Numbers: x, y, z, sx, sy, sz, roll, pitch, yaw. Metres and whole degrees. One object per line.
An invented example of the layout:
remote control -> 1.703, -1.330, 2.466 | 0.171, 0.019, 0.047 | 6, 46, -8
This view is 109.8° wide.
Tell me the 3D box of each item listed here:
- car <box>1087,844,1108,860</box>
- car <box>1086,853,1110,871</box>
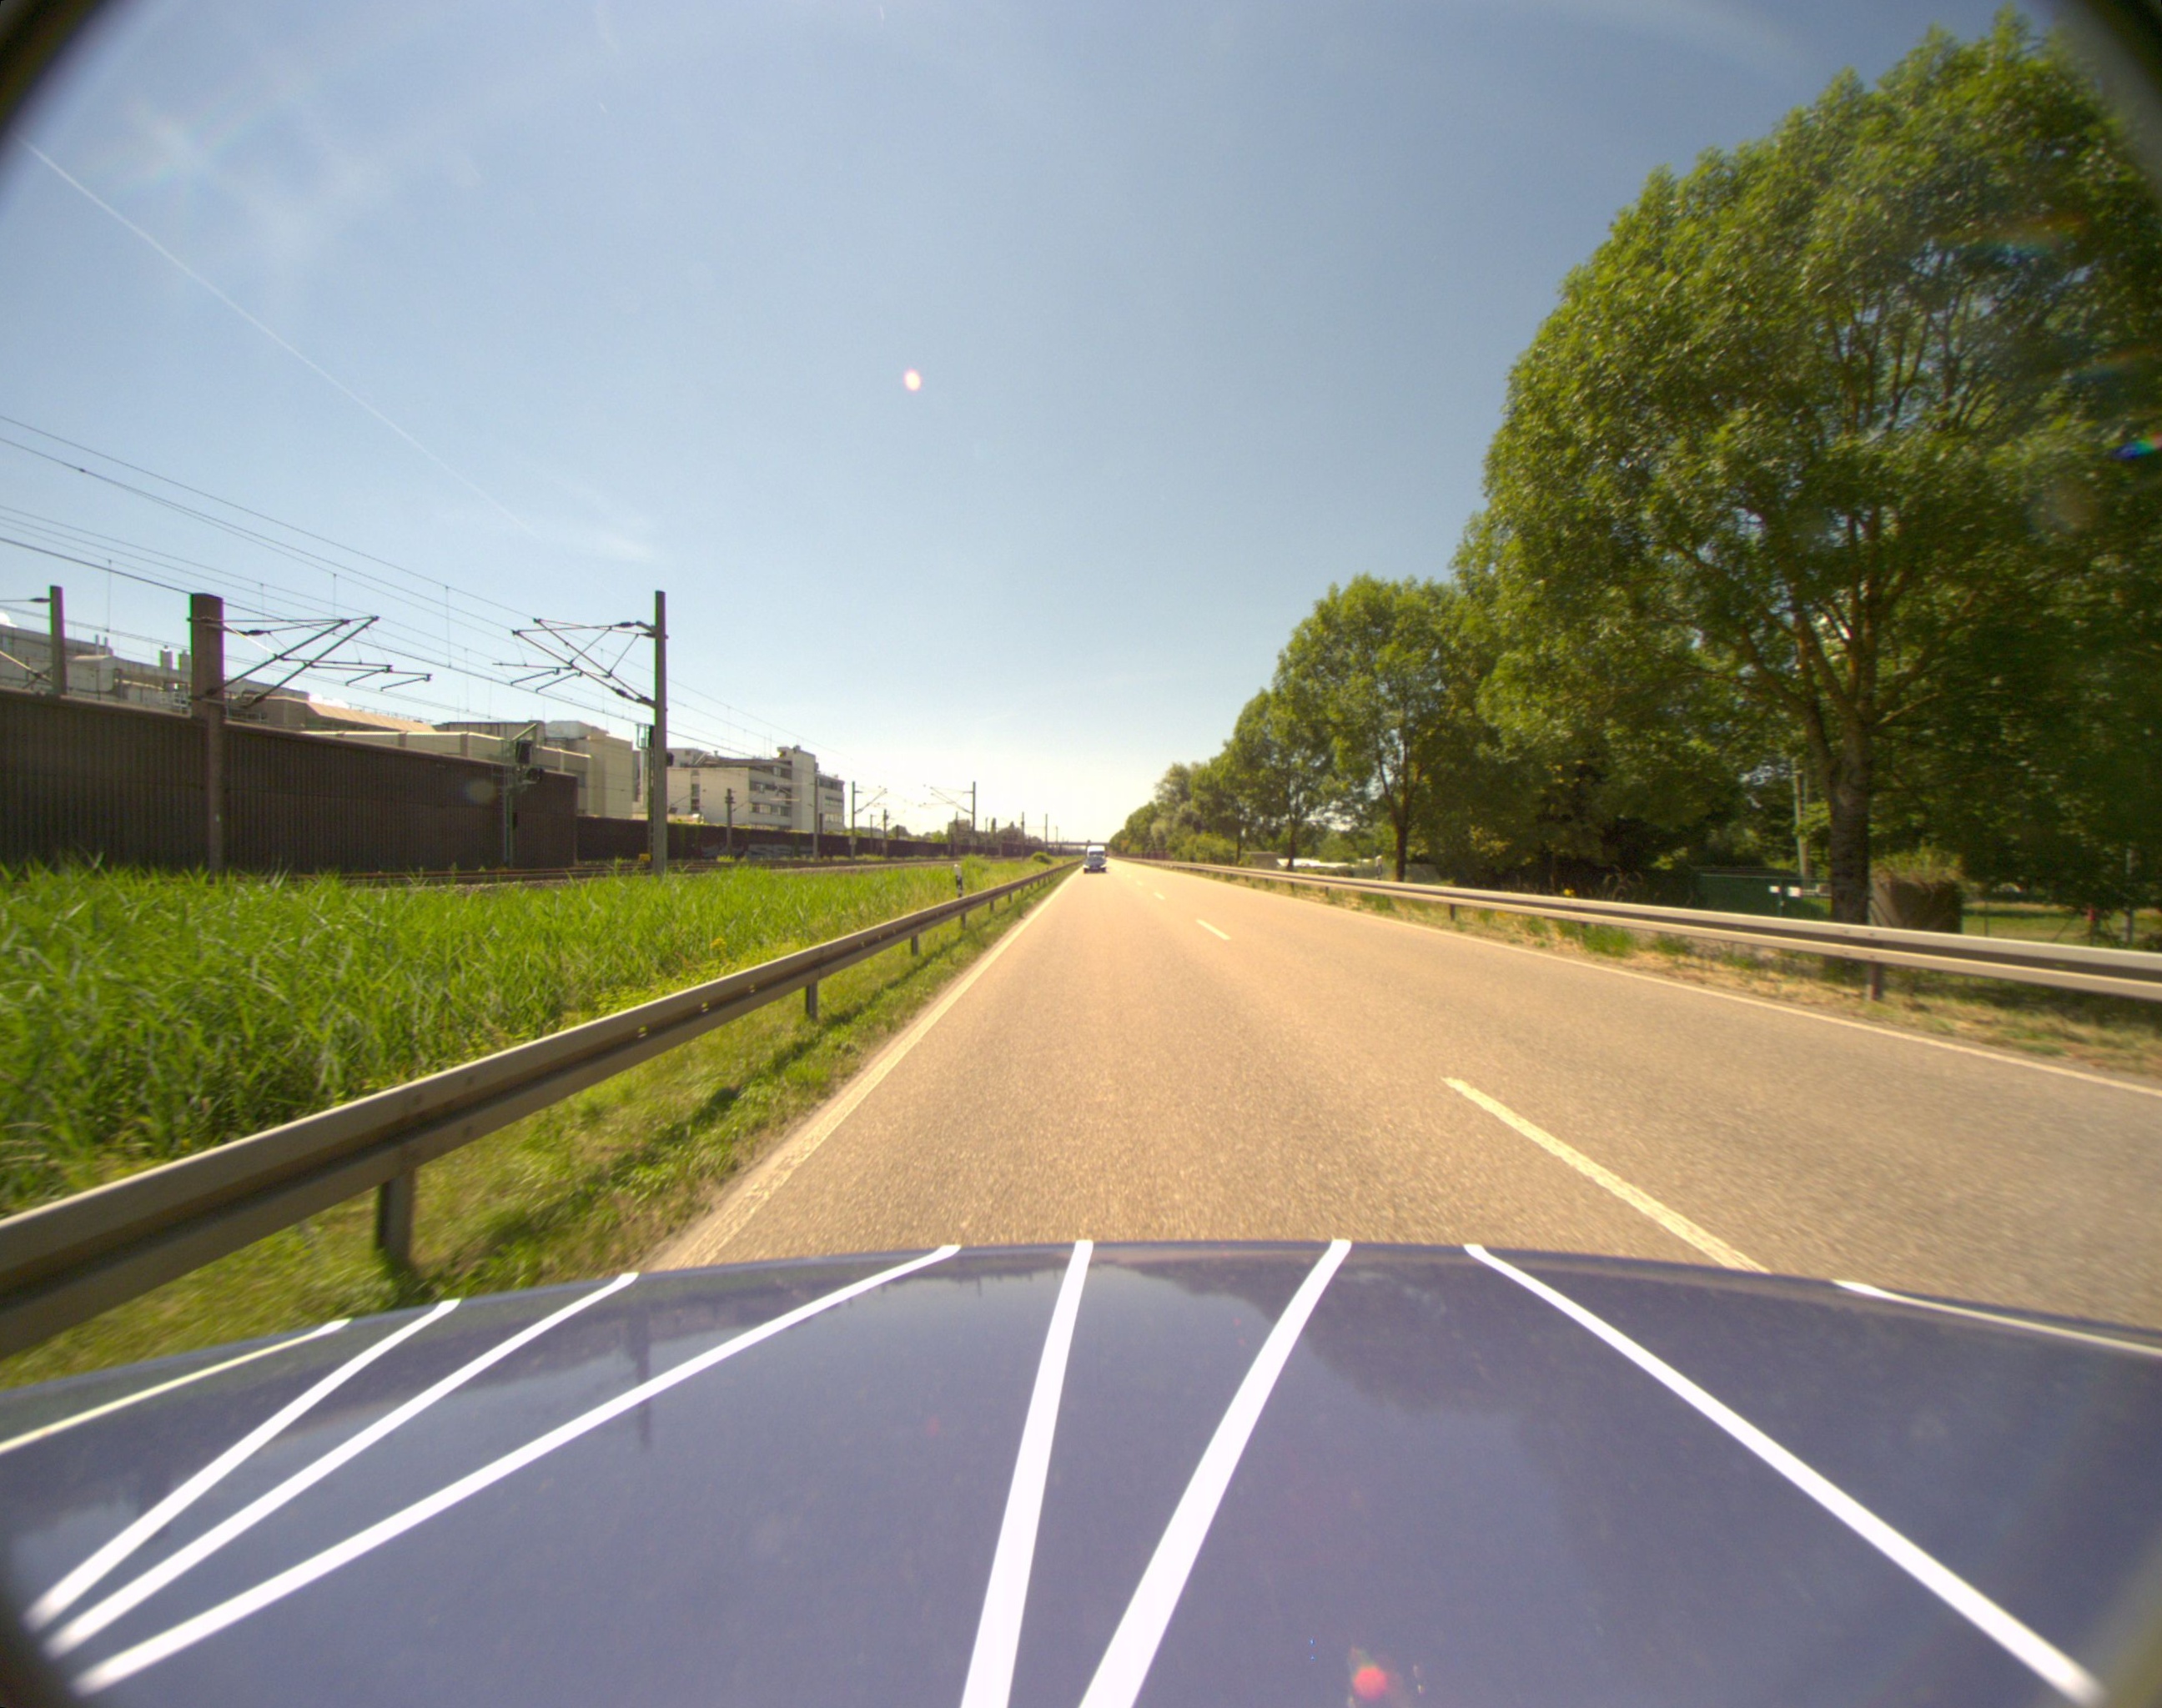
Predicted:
car -> 1.852, -0.228, 84.716 | 2.161, 1.701, 4.493 | -2, 0, 1
car -> 1.354, 0.653, 60.649 | 1.758, 1.313, 4.000 | -2, 0, 1
